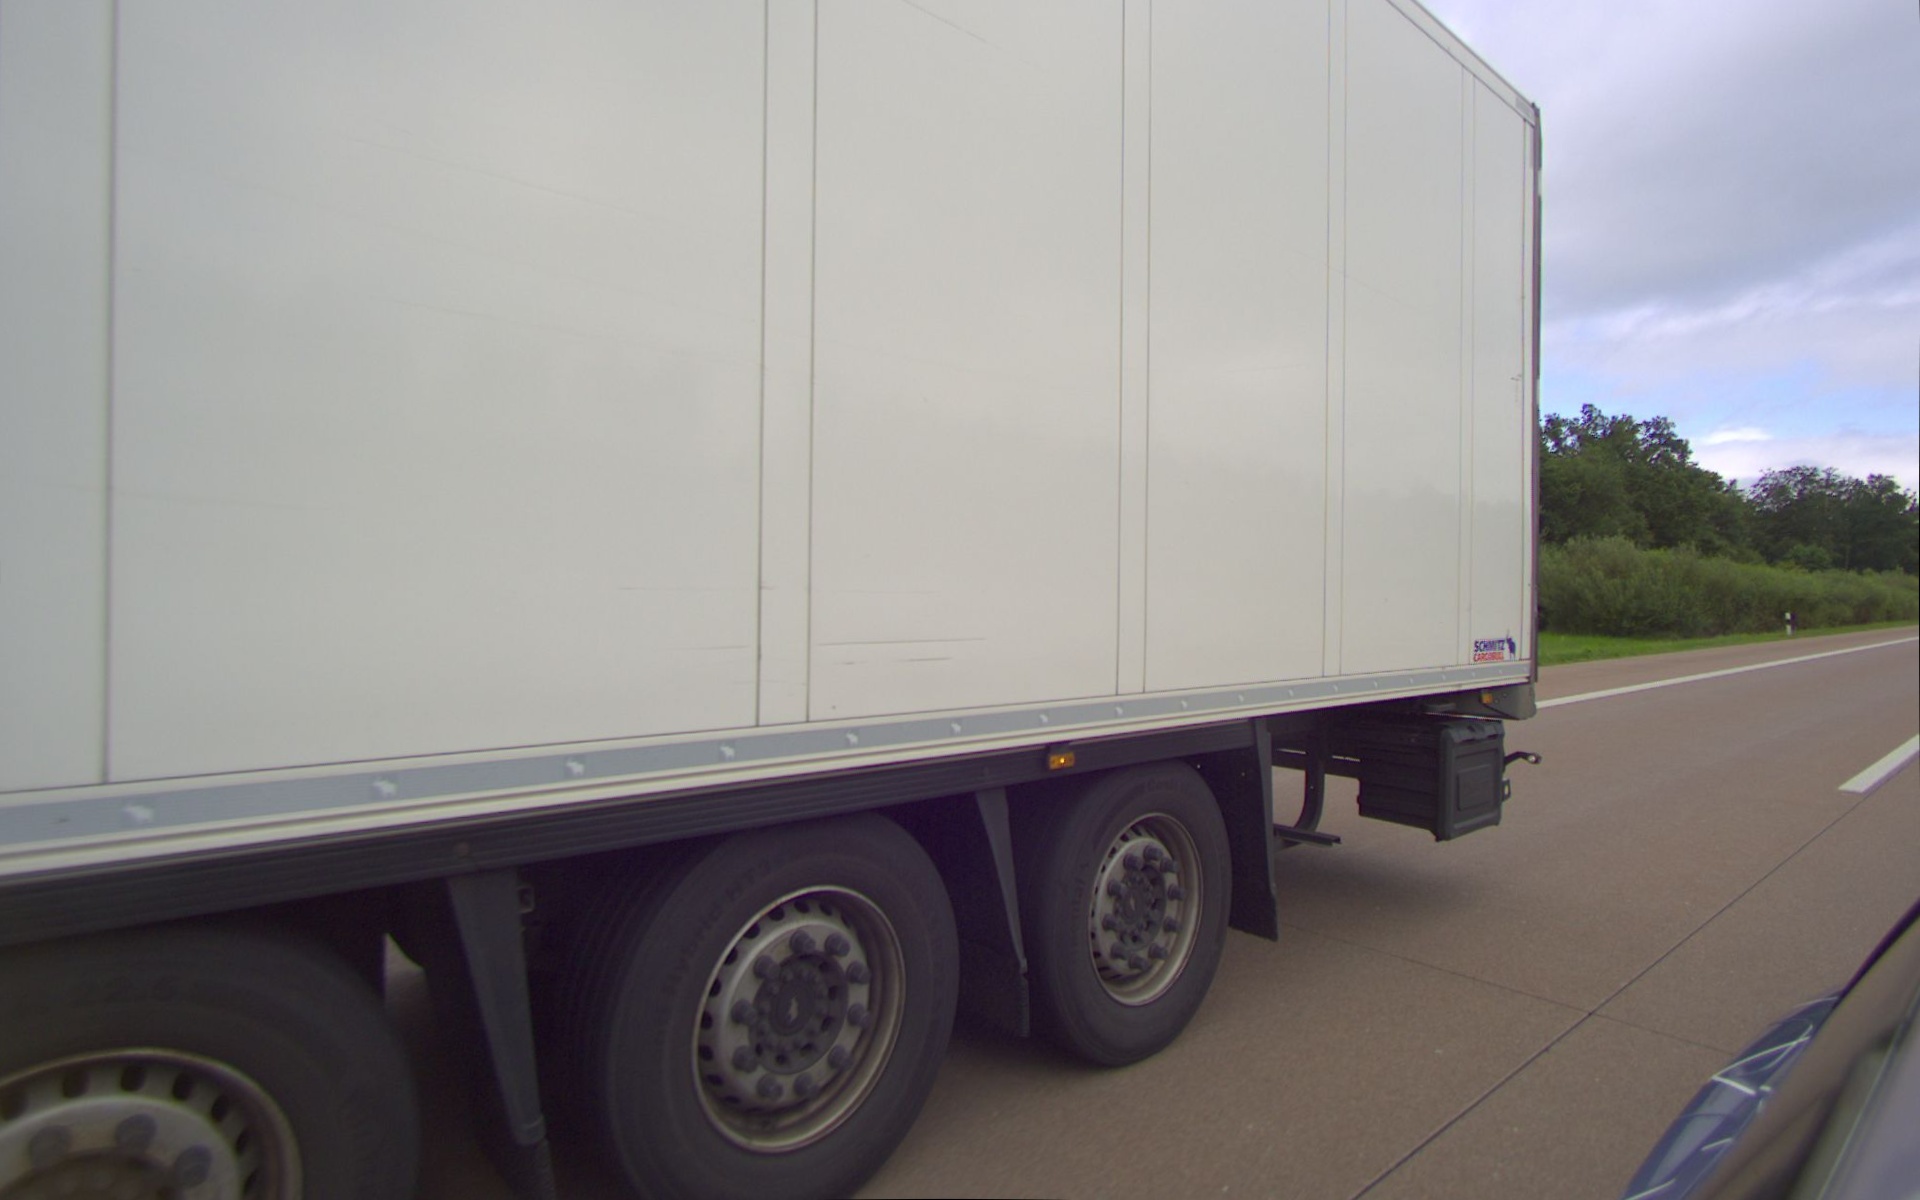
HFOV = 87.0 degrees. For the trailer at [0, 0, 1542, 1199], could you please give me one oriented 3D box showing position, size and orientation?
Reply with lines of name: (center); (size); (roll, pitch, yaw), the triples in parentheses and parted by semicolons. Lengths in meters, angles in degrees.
trailer: (-3.232, -0.747, 1.510); (13.376, 4.348, 2.926); (0, 0, -41)
